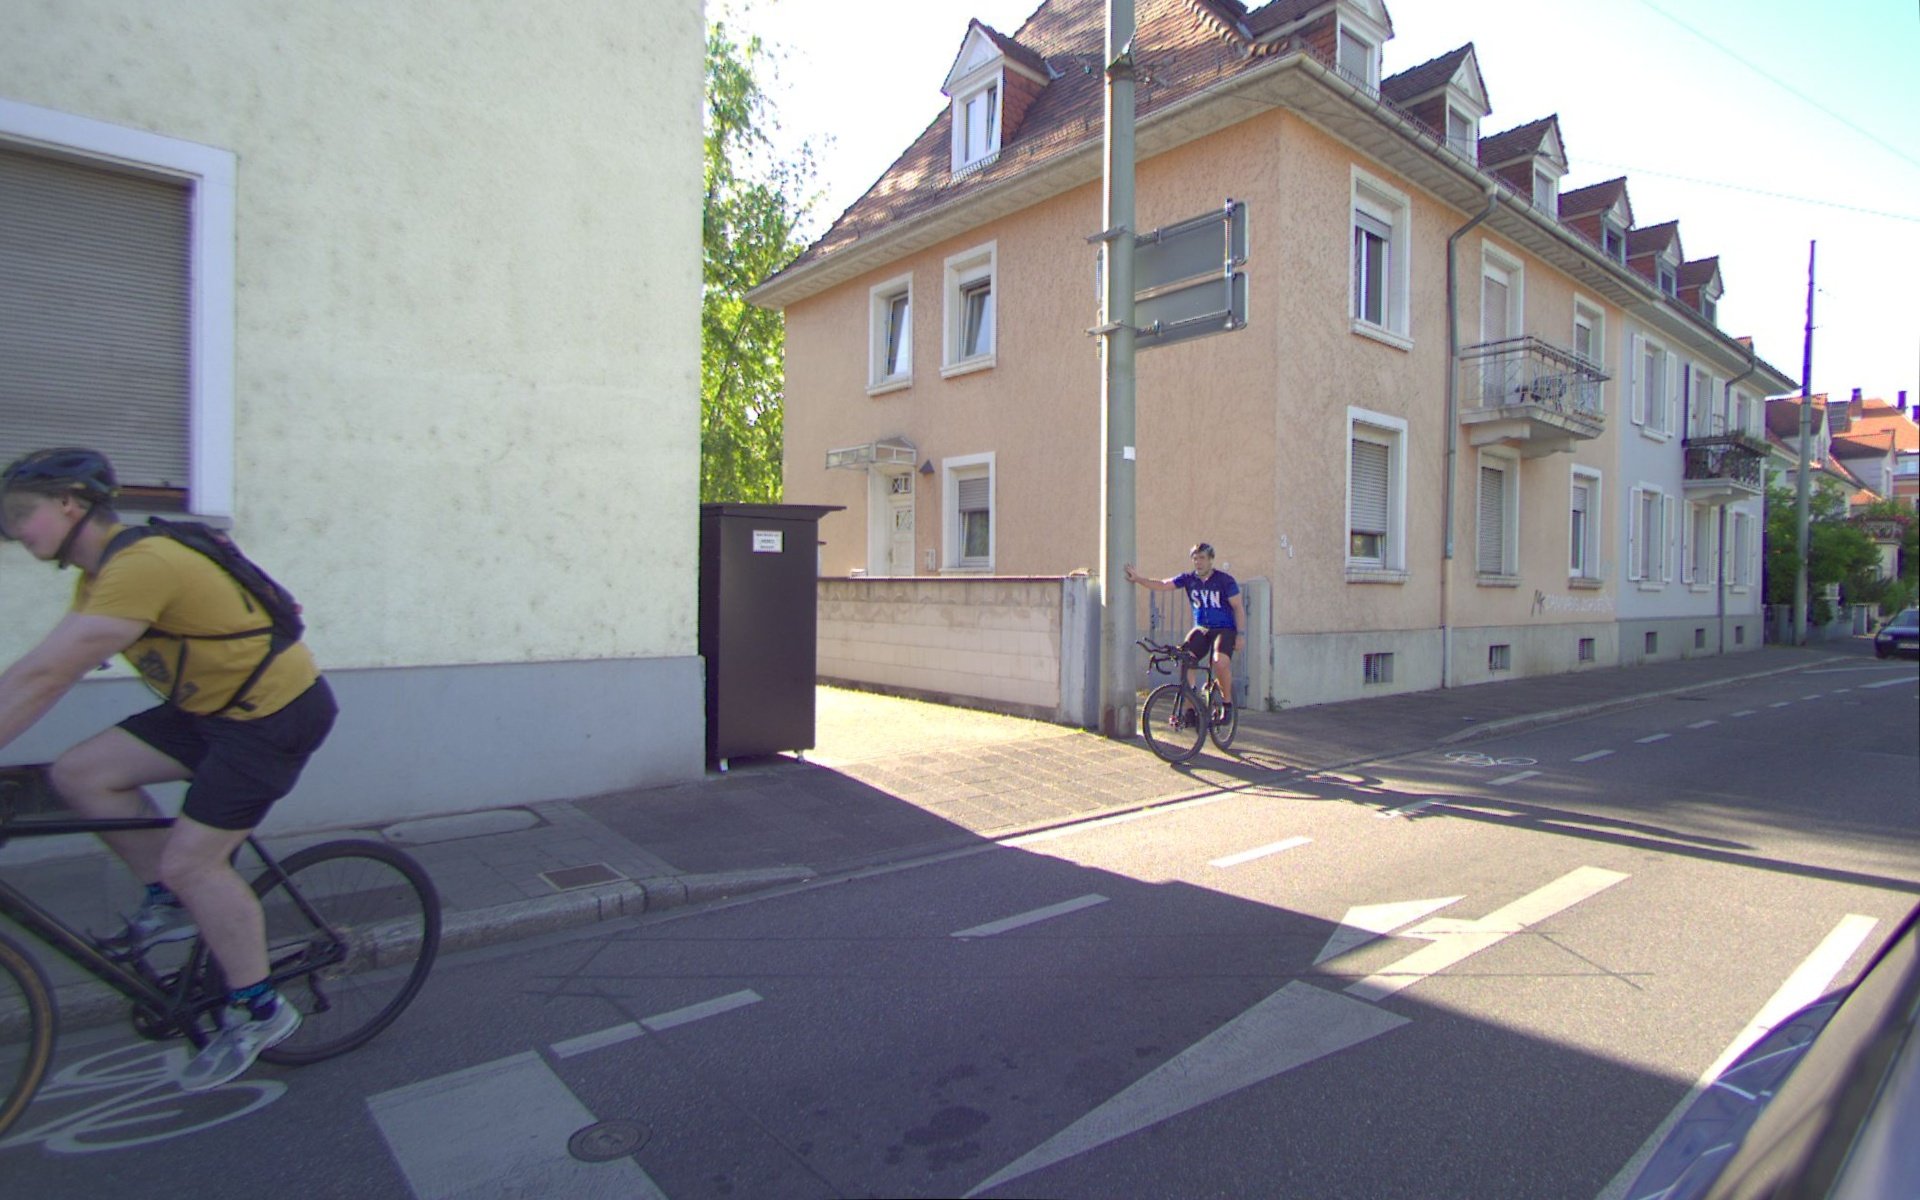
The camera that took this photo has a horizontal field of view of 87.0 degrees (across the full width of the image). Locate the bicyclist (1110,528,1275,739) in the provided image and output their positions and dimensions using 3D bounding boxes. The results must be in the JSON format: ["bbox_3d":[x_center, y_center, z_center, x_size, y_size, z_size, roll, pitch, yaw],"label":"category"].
[{"bbox_3d":[2.129,0.263,9.344,0.838,1.758,1.072,0,6,-40],"label":"bicyclist"}]

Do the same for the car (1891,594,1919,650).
[{"bbox_3d":[26.634,0.587,27.341,3.932,1.438,1.845,0,1,-42],"label":"car"}]

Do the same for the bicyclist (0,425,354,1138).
[{"bbox_3d":[-2.322,0.438,2.878,0.939,1.743,0.582,0,1,-41],"label":"bicyclist"}]

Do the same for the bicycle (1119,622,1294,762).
[{"bbox_3d":[2.250,0.780,9.149,1.689,1.064,0.595,0,6,-41],"label":"bicycle"}]

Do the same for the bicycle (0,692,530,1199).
[{"bbox_3d":[-2.241,0.896,2.877,1.778,1.101,0.611,0,1,-41],"label":"bicycle"}]
